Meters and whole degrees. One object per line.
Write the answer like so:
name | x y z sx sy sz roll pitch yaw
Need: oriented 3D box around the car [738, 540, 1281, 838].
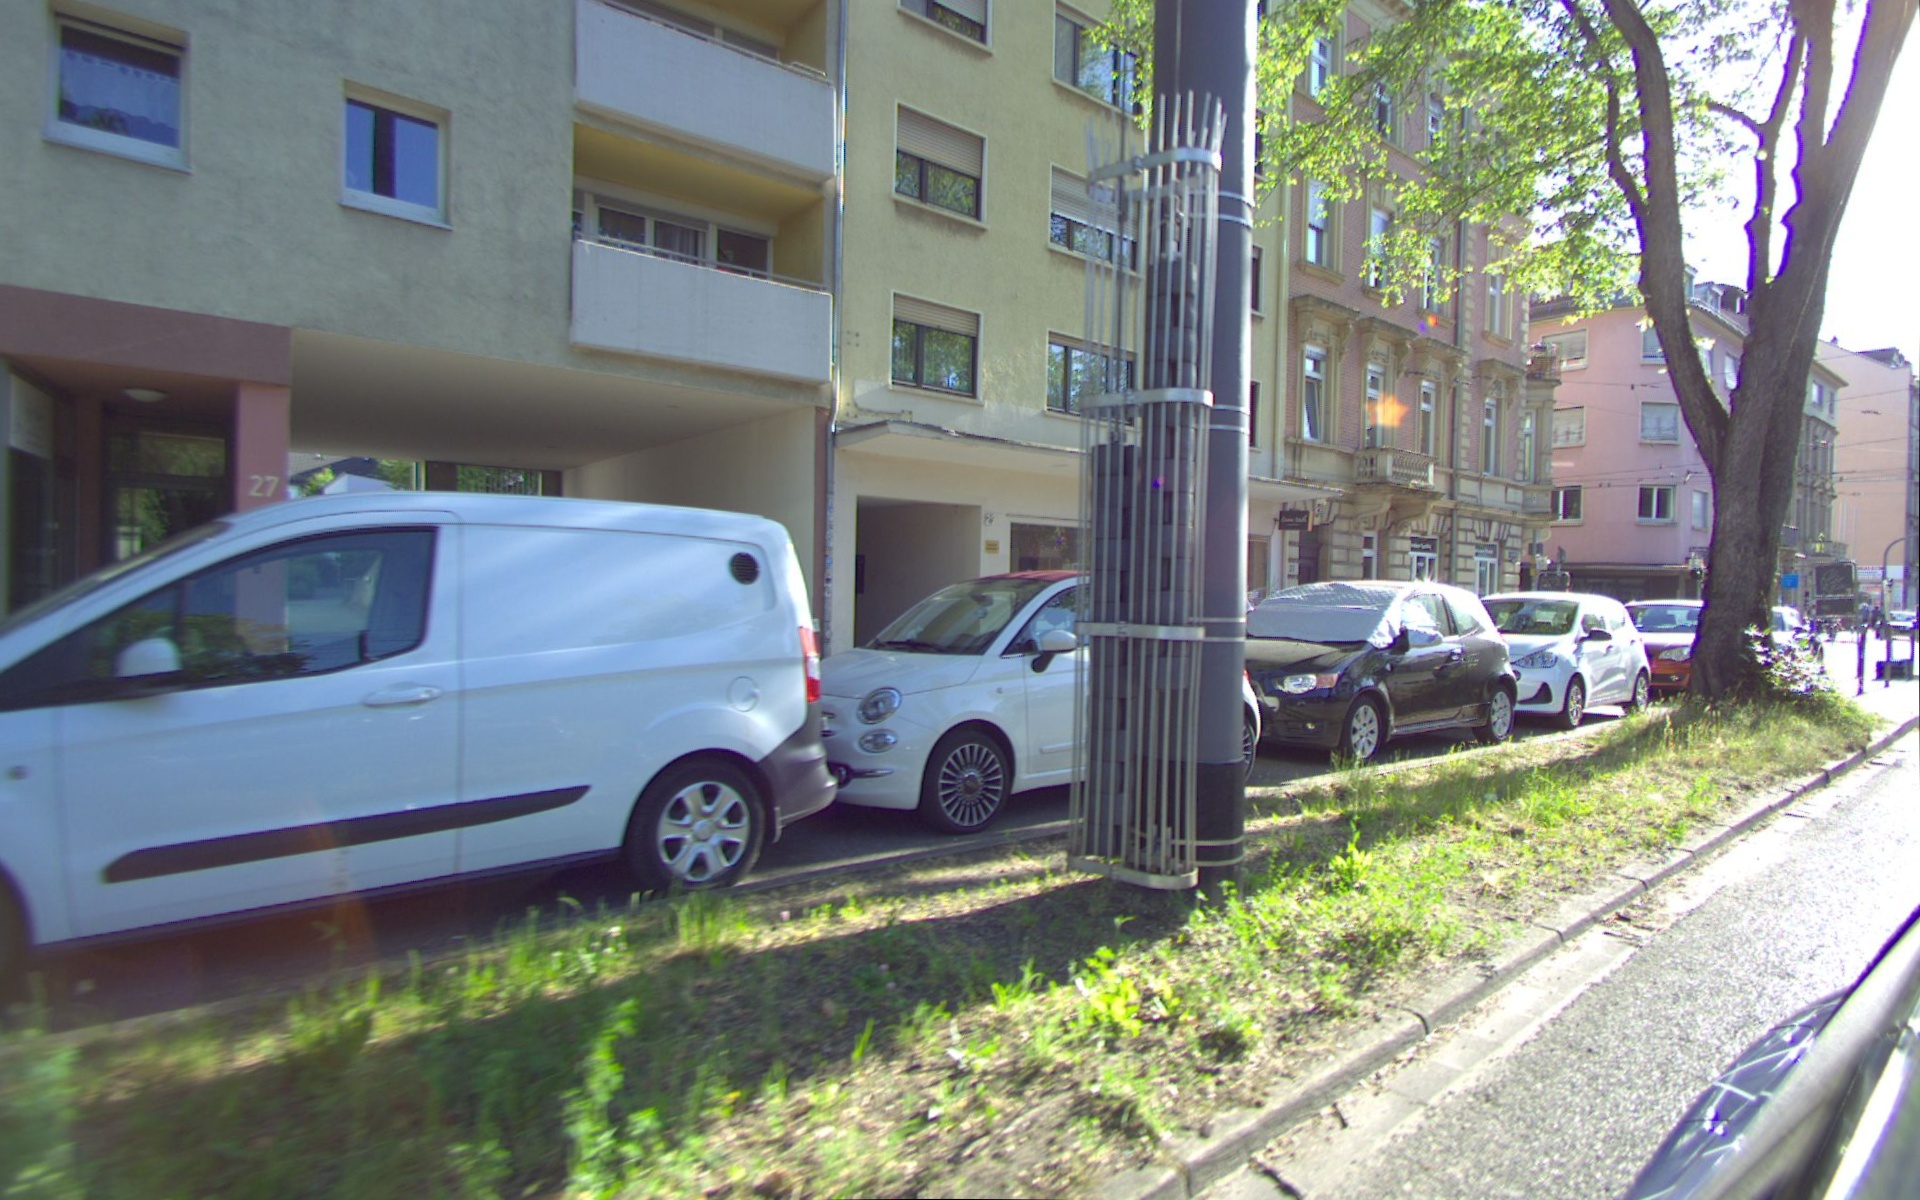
car | 0.441 0.464 6.719 3.426 1.499 1.516 1 -1 -36

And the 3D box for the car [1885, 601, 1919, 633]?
car | 49.396 0.902 52.330 3.929 1.537 1.739 1 3 -40

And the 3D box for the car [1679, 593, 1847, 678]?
car | 15.209 0.622 19.096 4.095 1.439 1.700 1 -1 -40

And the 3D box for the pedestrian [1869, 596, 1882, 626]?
pedestrian | 55.587 0.665 61.447 0.648 1.784 0.495 0 0 -40

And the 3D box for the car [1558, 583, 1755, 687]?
car | 11.098 0.507 16.032 3.835 1.453 1.592 1 -1 -40

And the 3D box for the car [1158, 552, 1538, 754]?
car | 3.659 0.417 9.298 3.717 1.504 1.565 1 -1 -38

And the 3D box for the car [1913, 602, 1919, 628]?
car | 56.345 0.851 56.740 3.926 1.469 1.815 0 -1 3

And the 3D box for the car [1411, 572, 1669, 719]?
car | 7.039 0.484 12.154 3.633 1.496 1.628 1 -1 -42

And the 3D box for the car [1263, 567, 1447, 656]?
car | 7.694 0.206 19.560 3.931 1.498 1.696 1 2 -42

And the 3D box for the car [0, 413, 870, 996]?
car | -2.527 0.313 4.160 4.065 1.689 1.630 1 -1 -37

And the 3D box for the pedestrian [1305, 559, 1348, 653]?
pedestrian | 8.088 0.129 22.352 0.836 2.039 0.513 1 -1 -36
